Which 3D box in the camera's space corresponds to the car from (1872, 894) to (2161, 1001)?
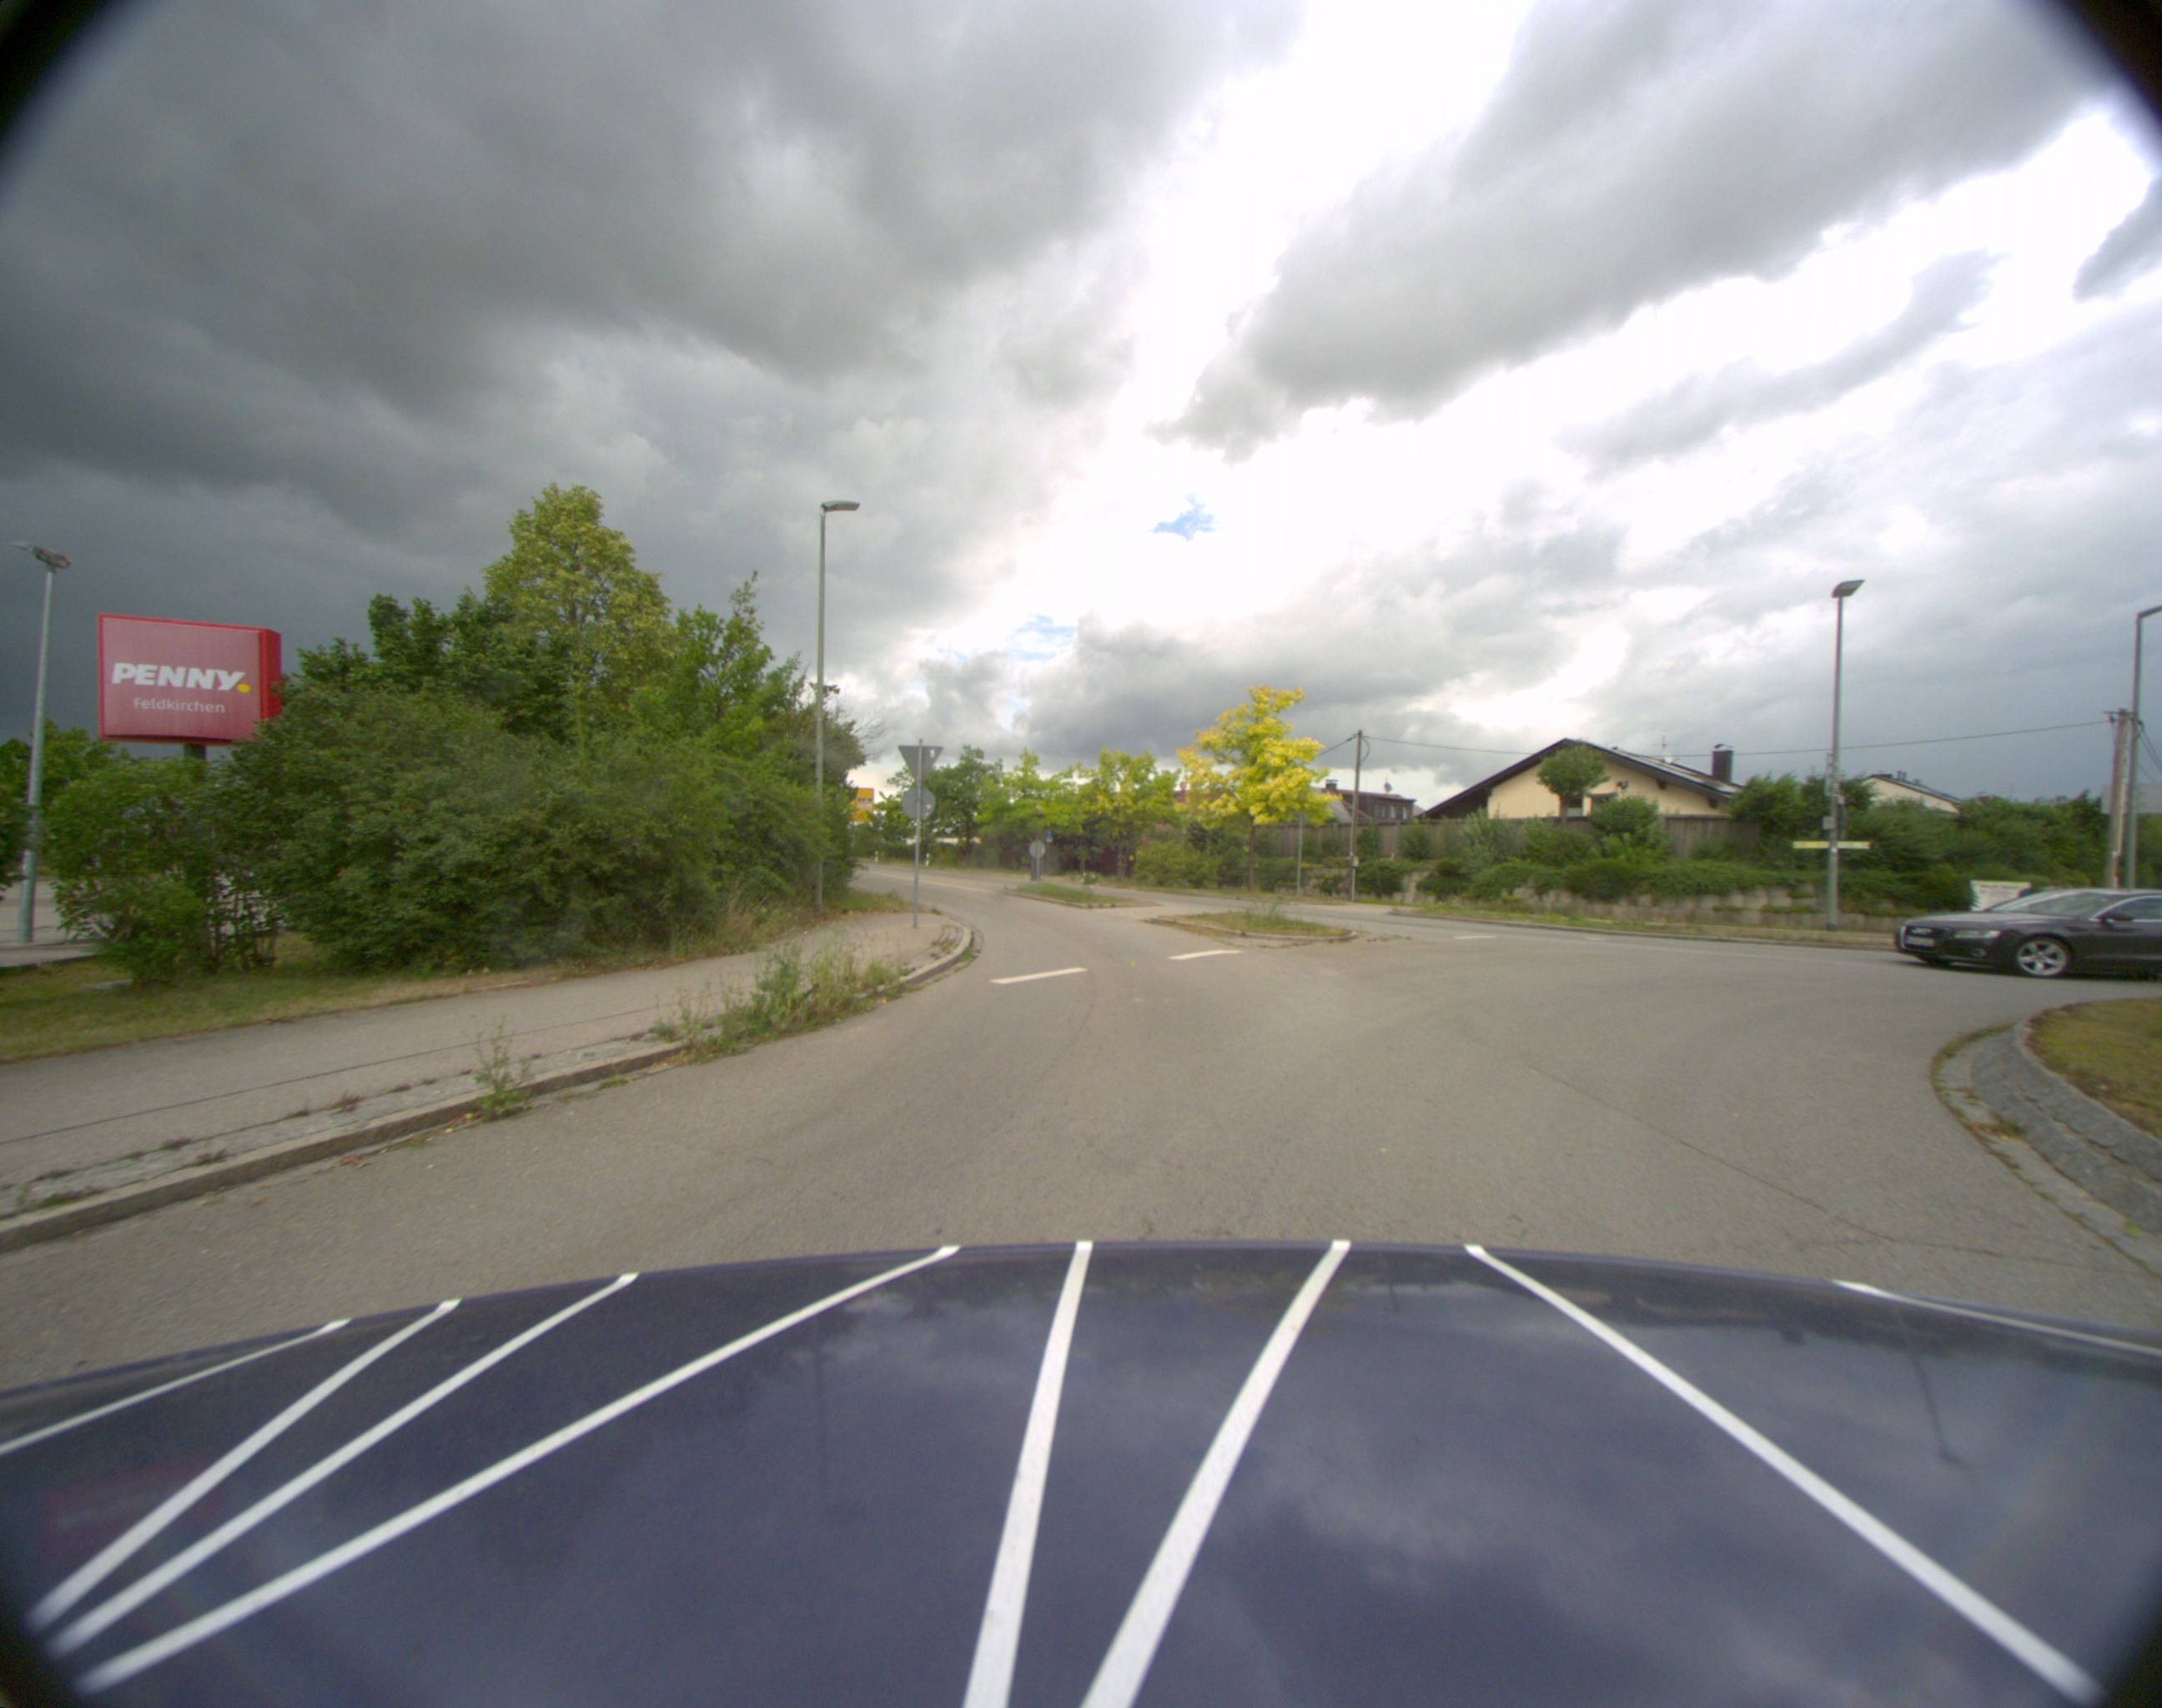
[{"bbox_3d":[15.693,1.437,11.836,4.465,1.339,1.937,2,0,5],"label":"car"}]
